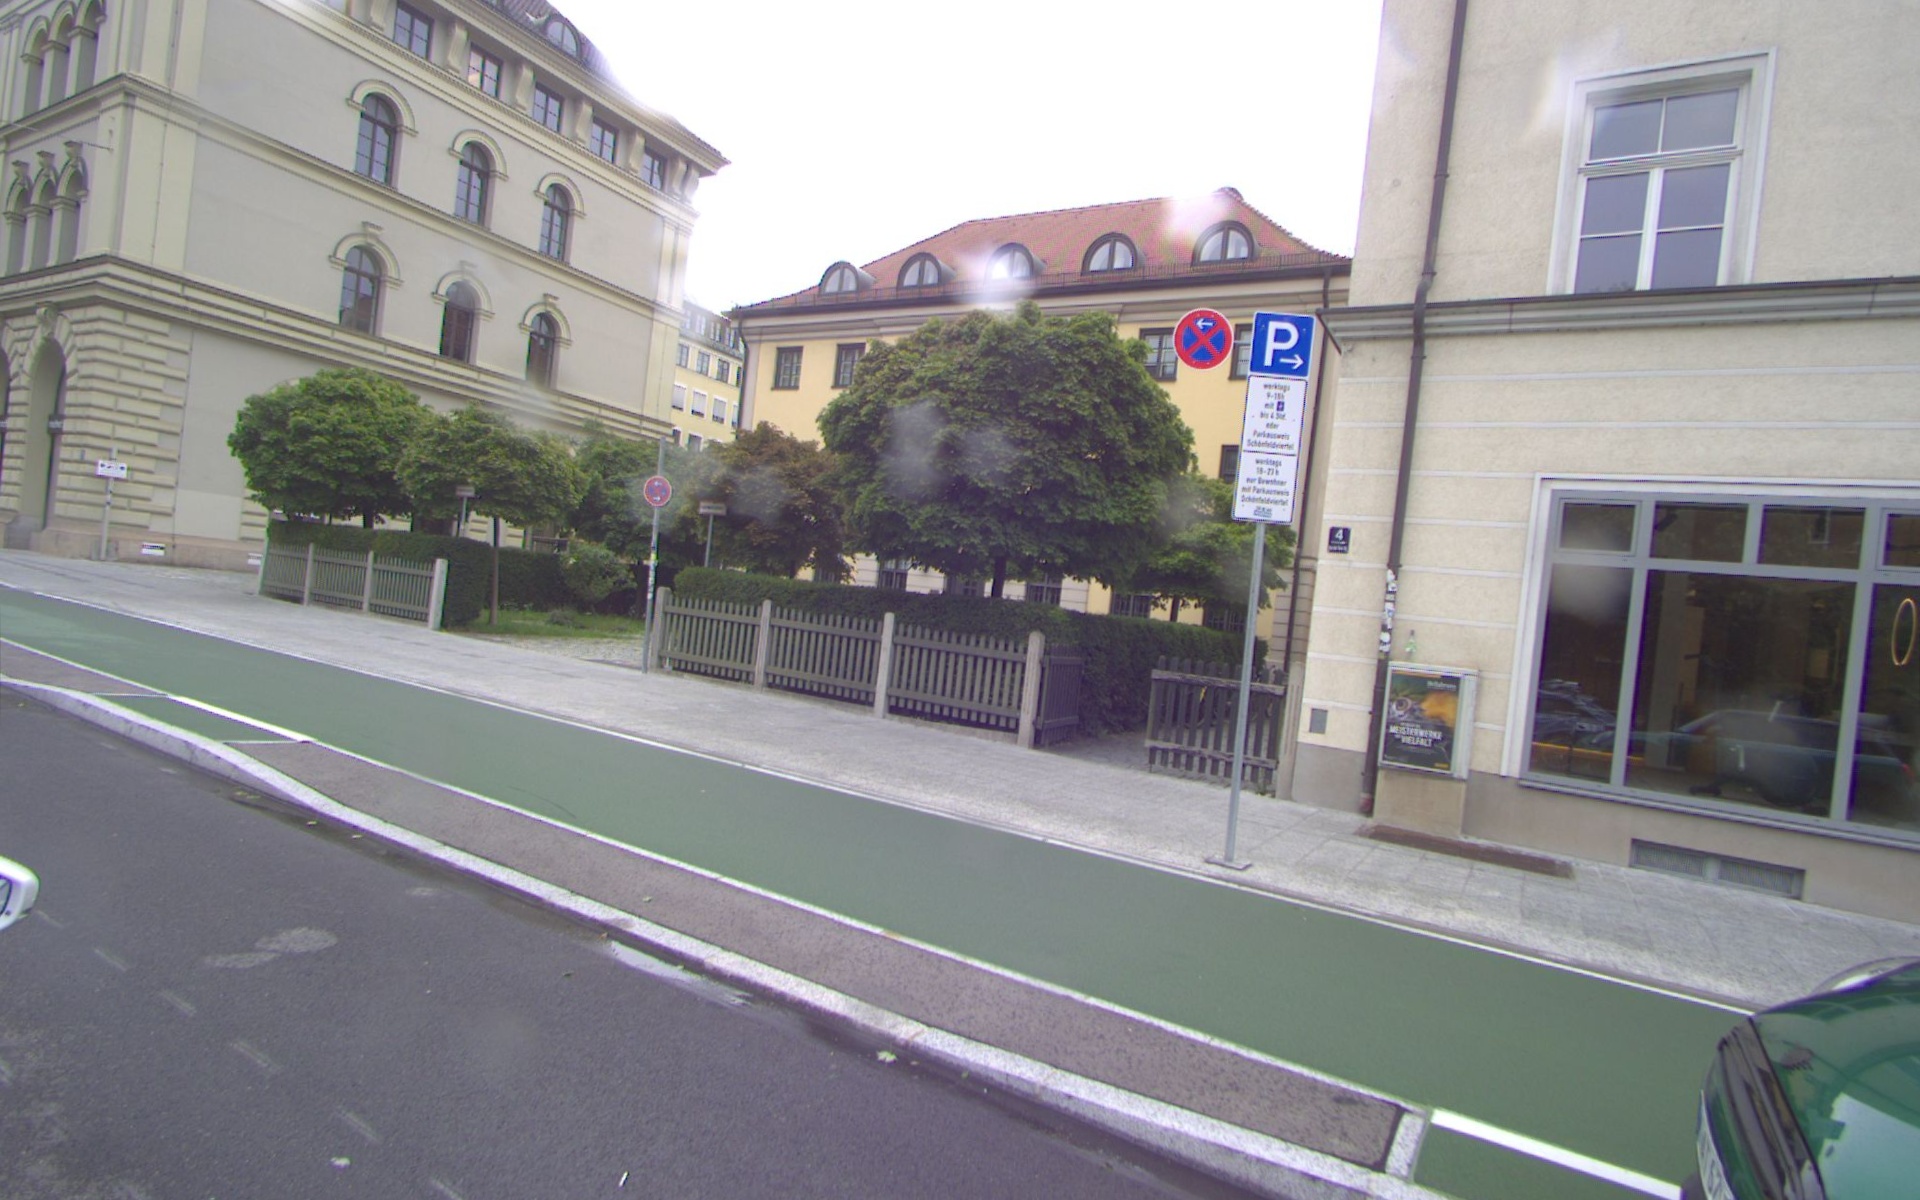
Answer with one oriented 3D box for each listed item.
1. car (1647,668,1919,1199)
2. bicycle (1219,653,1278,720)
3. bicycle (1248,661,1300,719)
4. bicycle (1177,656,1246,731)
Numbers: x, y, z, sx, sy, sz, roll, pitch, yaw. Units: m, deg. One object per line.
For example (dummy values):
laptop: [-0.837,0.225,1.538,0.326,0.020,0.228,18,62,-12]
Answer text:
car: [3.169,1.124,1.127,3.767,1.538,1.678,7,-1,33]
bicycle: [5.338,1.588,18.553,0.512,1.124,1.830,7,-1,30]
bicycle: [6.326,1.804,20.190,0.512,1.048,1.830,7,-1,30]
bicycle: [4.203,1.544,16.717,0.512,1.130,1.830,7,-1,30]
